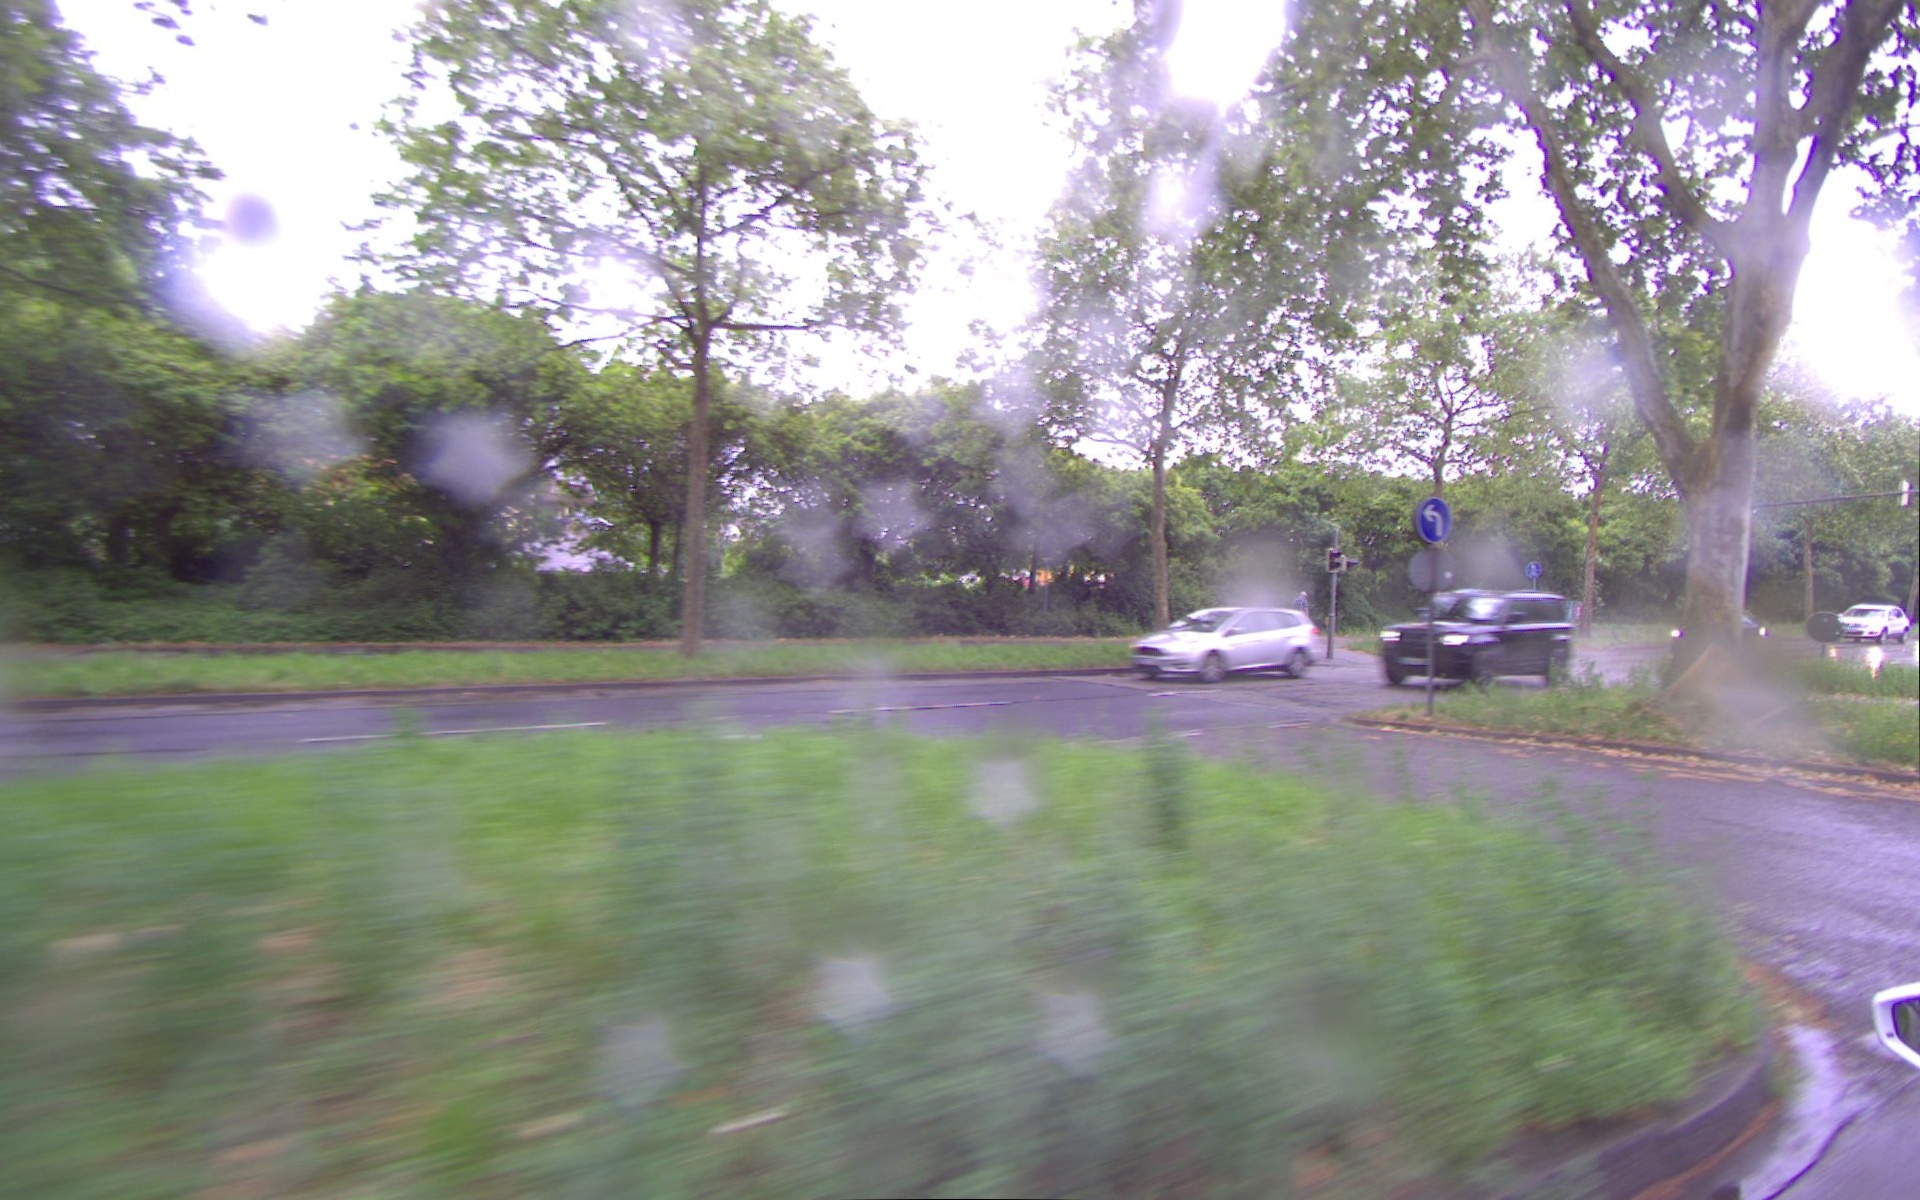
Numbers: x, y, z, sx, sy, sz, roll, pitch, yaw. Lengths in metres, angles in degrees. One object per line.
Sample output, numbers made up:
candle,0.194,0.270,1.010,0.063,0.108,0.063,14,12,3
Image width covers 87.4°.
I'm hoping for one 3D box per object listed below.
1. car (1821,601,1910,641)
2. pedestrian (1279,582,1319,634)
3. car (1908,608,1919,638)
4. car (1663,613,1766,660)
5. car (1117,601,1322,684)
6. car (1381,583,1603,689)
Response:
car,40.430,0.952,44.833,4.394,1.653,1.734,1,1,-31
pedestrian,11.227,0.267,33.268,0.890,1.696,0.825,1,1,-33
car,49.184,1.195,50.058,4.395,1.427,1.734,1,1,-32
car,27.296,1.266,36.301,4.401,1.458,1.731,-1,2,-36
car,5.404,0.836,20.719,4.191,1.496,1.732,1,1,-34
car,10.791,0.684,20.229,5.067,1.866,1.732,1,1,-34
